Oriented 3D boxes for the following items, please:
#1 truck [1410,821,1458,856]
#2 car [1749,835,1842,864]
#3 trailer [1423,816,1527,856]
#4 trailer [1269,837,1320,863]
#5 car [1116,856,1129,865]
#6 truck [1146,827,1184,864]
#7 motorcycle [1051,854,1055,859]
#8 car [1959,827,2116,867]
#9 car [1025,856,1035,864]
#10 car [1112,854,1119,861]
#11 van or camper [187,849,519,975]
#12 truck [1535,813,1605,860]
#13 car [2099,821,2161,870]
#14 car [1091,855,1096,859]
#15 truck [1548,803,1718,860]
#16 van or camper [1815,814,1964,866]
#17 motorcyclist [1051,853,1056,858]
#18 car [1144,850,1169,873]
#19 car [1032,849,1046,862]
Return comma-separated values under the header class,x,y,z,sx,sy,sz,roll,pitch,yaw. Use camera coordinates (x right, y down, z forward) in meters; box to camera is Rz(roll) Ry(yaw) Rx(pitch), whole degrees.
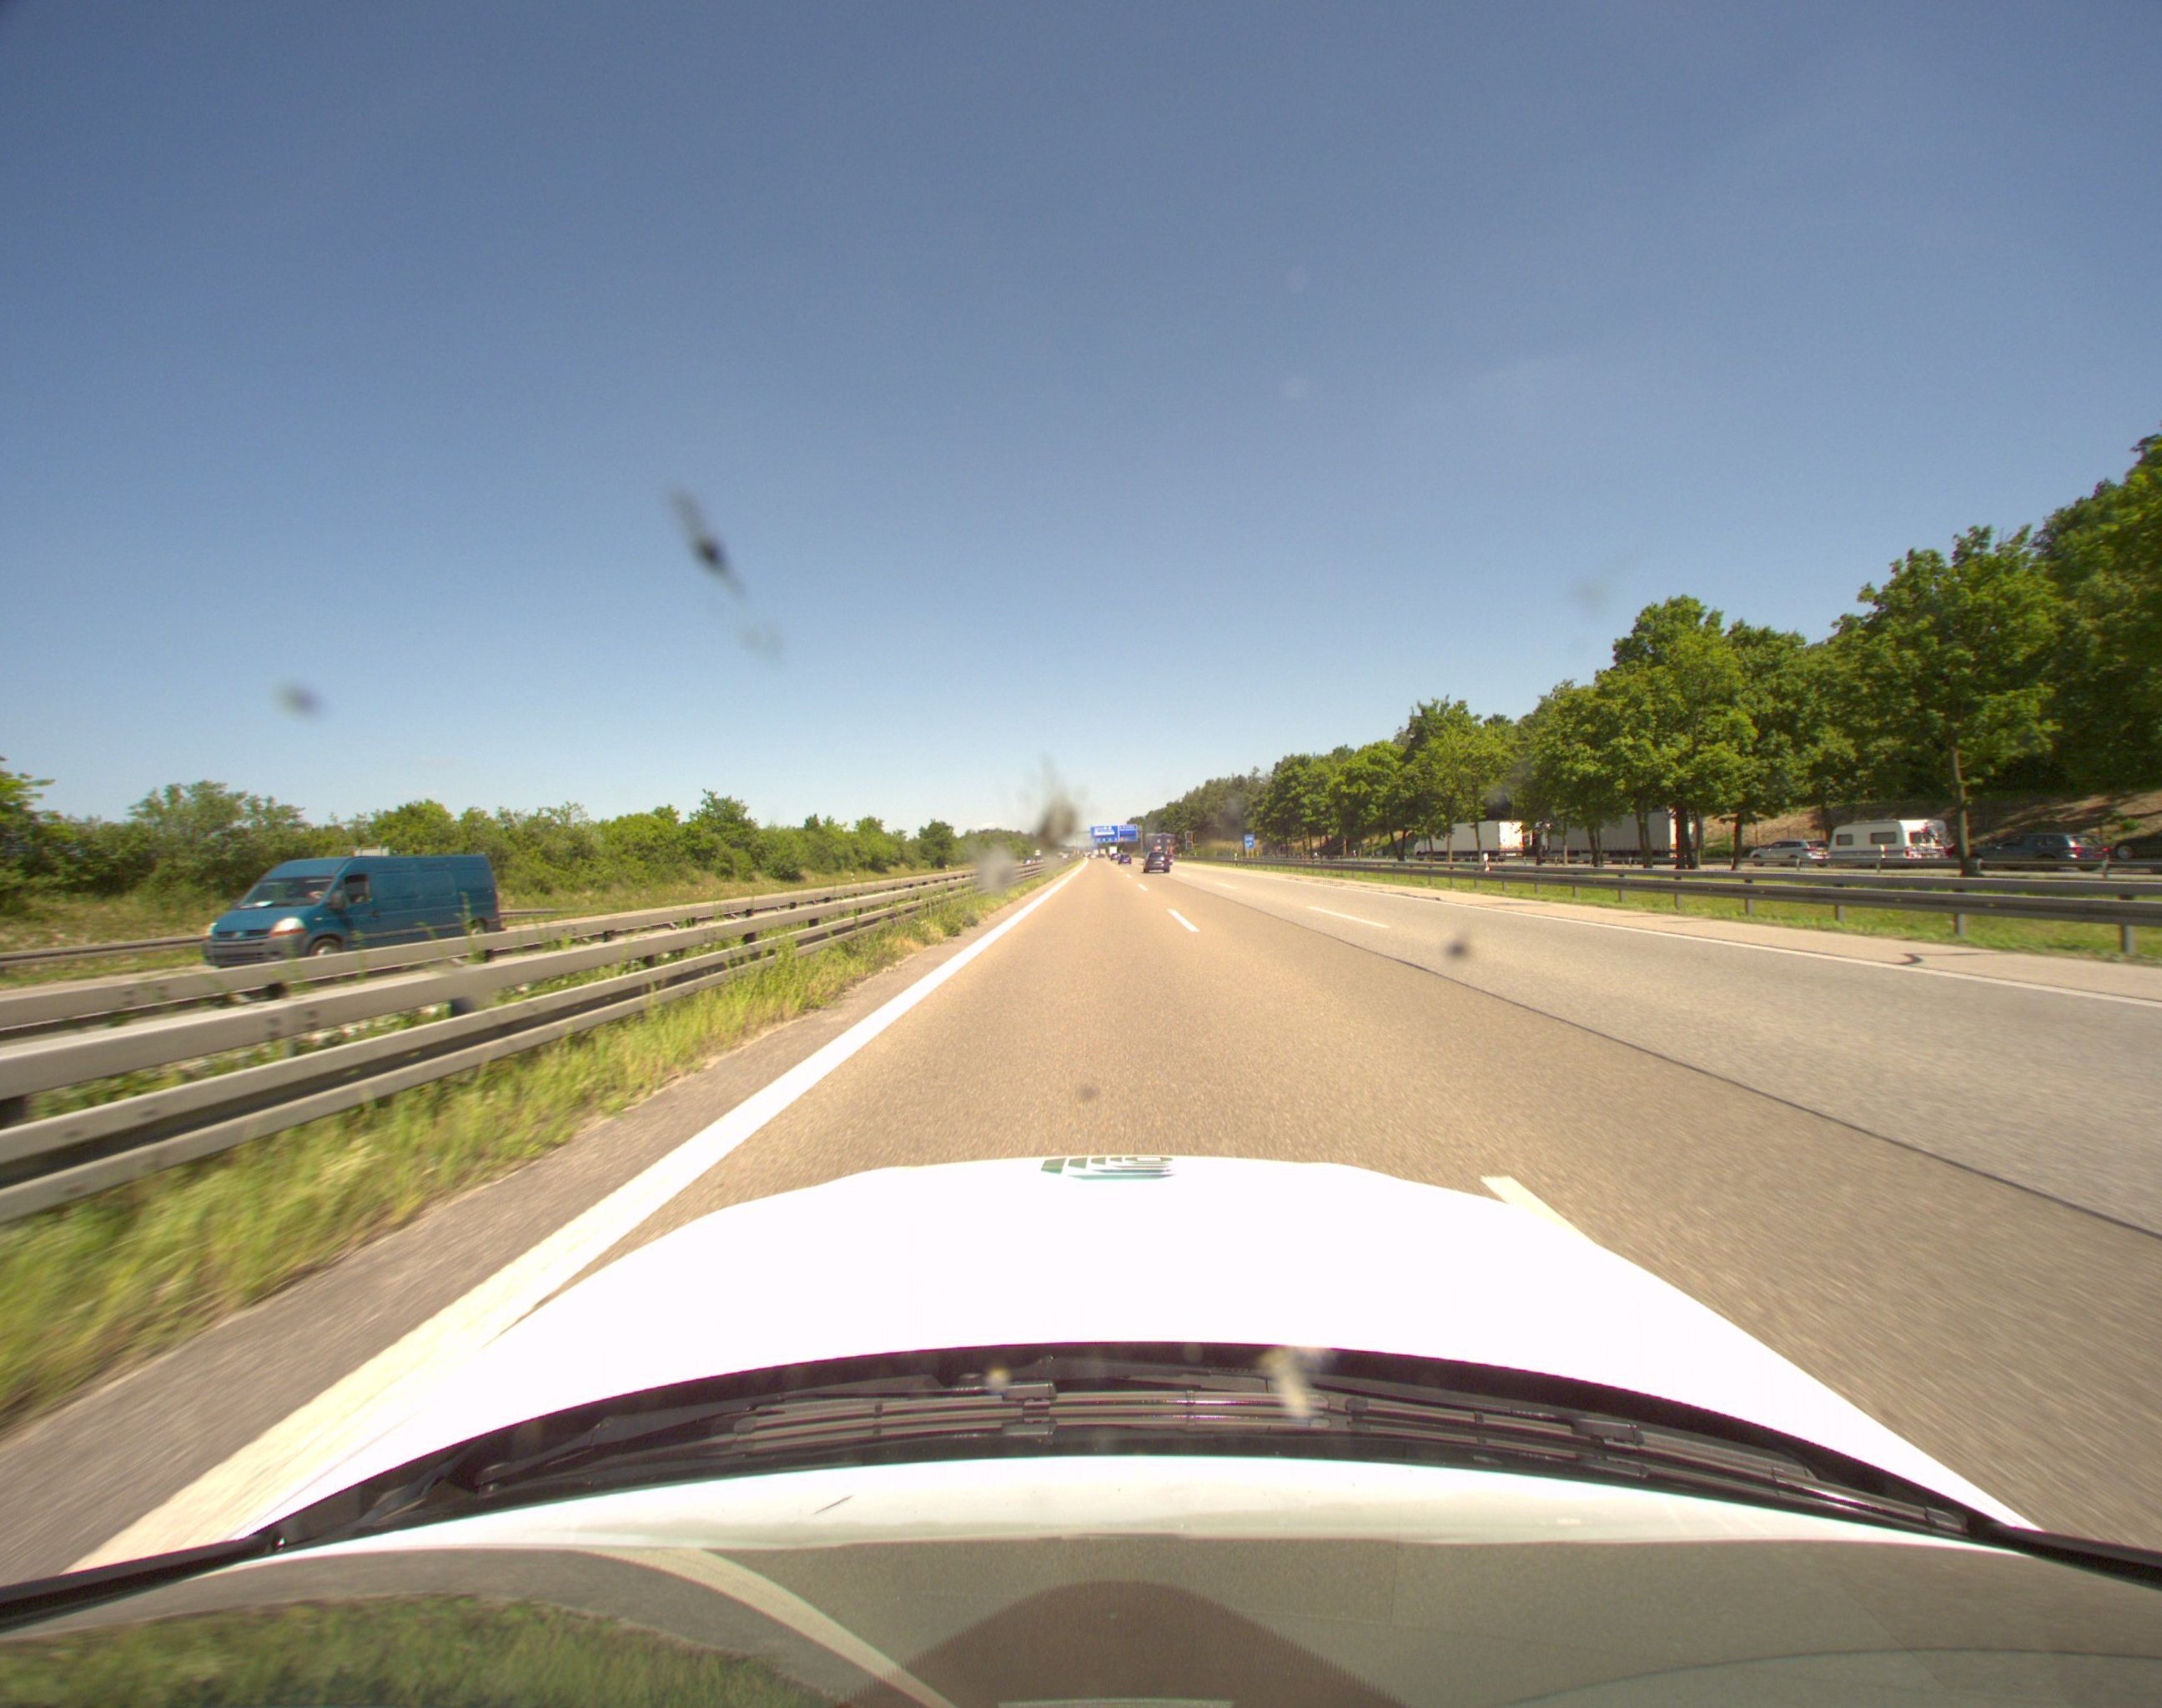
class,x,y,z,sx,sy,sz,roll,pitch,yaw
truck,40.245,-1.689,93.071,2.804,3.796,5.135,-1,0,-6
car,42.807,-0.260,48.957,1.650,1.597,4.556,-2,0,1
trailer,40.939,-1.705,85.459,2.853,3.796,14.162,-1,0,-5
trailer,33.915,-0.595,130.116,2.573,3.915,12.698,-1,0,-11
car,5.785,0.920,113.643,1.702,1.155,3.691,-2,0,2
truck,10.585,-1.018,104.200,3.766,4.422,14.057,-1,0,2
motorcycle,-5.734,0.486,169.118,0.661,1.076,1.882,-4,0,2
car,42.600,-0.271,36.451,1.651,1.642,4.494,-2,0,-1
car,-9.886,1.107,157.485,1.507,1.486,3.374,-2,0,2
car,7.208,0.702,172.598,1.465,1.398,3.412,1,0,2
van or camper,-16.605,1.148,19.281,1.986,2.392,6.243,-3,0,2
truck,42.526,-1.463,70.946,2.964,3.931,4.828,-2,0,-3
car,42.047,-0.332,30.697,1.647,1.877,4.808,-2,0,6
car,3.680,0.853,234.999,1.465,1.227,3.412,-2,0,2
truck,42.850,-1.541,64.336,2.989,3.931,14.445,-2,0,-3
van or camper,42.748,-0.703,43.337,2.195,2.530,5.878,-2,0,2
motorcyclist,-5.746,0.316,169.084,0.872,1.076,0.811,-4,-1,1
car,5.743,0.527,62.137,1.791,1.669,4.264,-1,0,5
car,-7.354,0.226,144.110,1.986,2.109,4.304,-3,0,2
